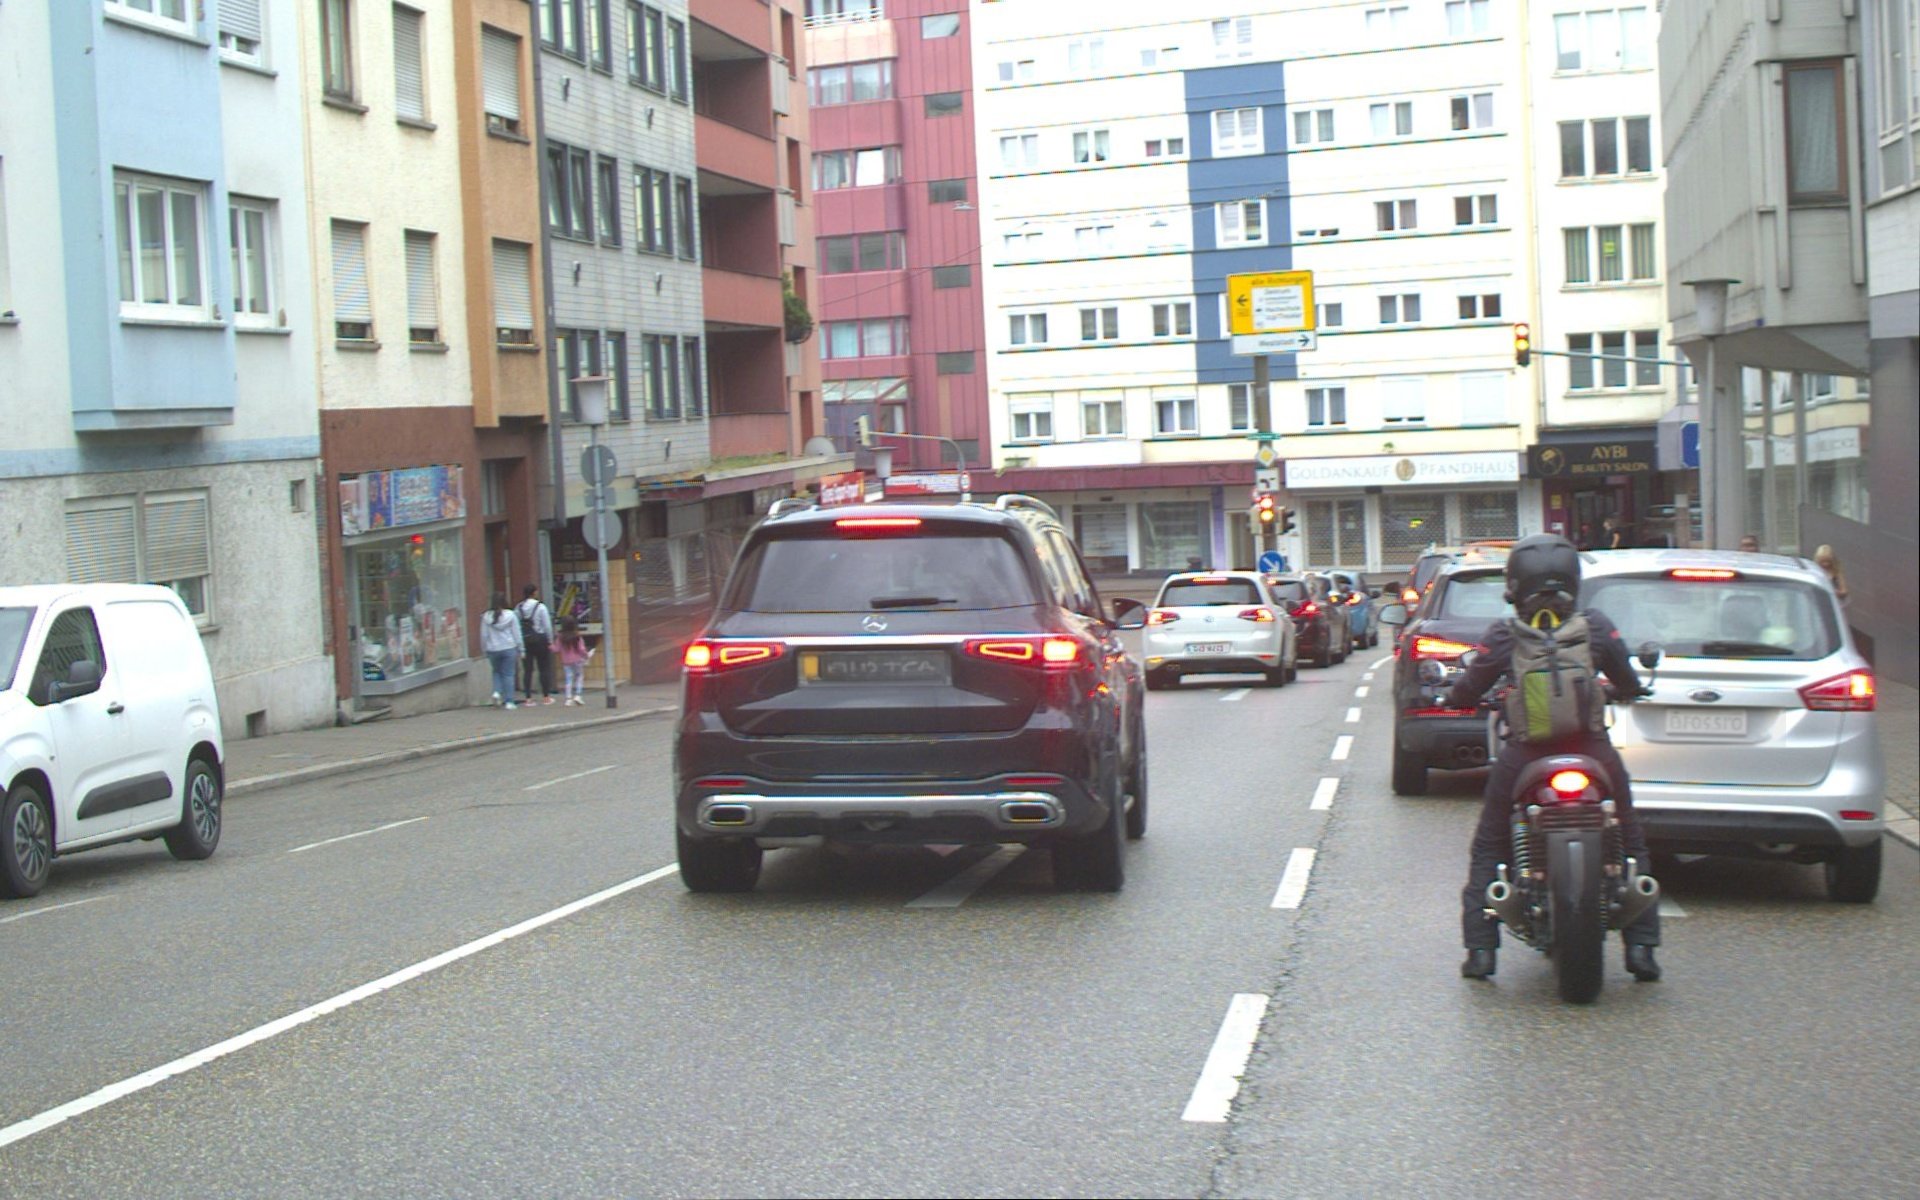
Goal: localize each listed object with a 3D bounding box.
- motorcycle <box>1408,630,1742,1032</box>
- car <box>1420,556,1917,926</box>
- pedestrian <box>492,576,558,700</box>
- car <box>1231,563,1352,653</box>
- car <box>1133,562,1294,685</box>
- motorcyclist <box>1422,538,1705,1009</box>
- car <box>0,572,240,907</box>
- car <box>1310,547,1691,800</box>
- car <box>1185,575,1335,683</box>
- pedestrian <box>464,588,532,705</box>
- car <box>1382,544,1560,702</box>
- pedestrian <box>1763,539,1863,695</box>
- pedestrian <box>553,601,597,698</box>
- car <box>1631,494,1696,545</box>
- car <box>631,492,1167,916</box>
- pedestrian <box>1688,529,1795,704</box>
[{"bbox_3d":[2.109,0.743,12.118,0.845,1.221,2.373,1,1,3],"label":"motorcycle"},{"bbox_3d":[3.316,0.577,16.860,1.826,1.536,4.251,1,1,4],"label":"car"},{"bbox_3d":[-5.987,0.517,47.345,0.827,1.684,0.724,0,0,-1],"label":"pedestrian"},{"bbox_3d":[5.875,0.174,60.517,1.925,1.510,4.661,0,-1,8],"label":"car"},{"bbox_3d":[3.303,0.264,44.068,1.874,1.489,4.399,-1,1,6],"label":"car"},{"bbox_3d":[2.111,0.584,12.148,0.845,1.584,0.963,1,0,3],"label":"motorcyclist"},{"bbox_3d":[-5.914,0.782,20.446,1.862,1.797,4.265,-3,0,6],"label":"car"},{"bbox_3d":[3.582,0.449,23.520,1.823,1.555,4.202,1,0,-2],"label":"car"},{"bbox_3d":[4.606,0.416,52.292,1.994,1.481,4.235,-2,0,8],"label":"car"},{"bbox_3d":[-6.199,0.621,46.156,0.827,1.555,0.724,0,0,-1],"label":"pedestrian"},{"bbox_3d":[5.874,0.224,39.922,1.898,1.689,4.504,1,1,7],"label":"car"},{"bbox_3d":[8.889,0.175,35.873,0.765,1.546,0.891,-4,0,5],"label":"pedestrian"},{"bbox_3d":[-5.304,0.679,47.379,0.533,1.318,0.724,0,0,-1],"label":"pedestrian"},{"bbox_3d":[24.356,-2.765,118.958,1.798,1.664,3.997,-2,0,17],"label":"car"},{"bbox_3d":[-0.129,0.425,16.985,2.039,1.793,4.662,-1,1,6],"label":"car"},{"bbox_3d":[7.930,0.163,34.915,0.784,1.700,1.121,-4,0,5],"label":"pedestrian"}]
